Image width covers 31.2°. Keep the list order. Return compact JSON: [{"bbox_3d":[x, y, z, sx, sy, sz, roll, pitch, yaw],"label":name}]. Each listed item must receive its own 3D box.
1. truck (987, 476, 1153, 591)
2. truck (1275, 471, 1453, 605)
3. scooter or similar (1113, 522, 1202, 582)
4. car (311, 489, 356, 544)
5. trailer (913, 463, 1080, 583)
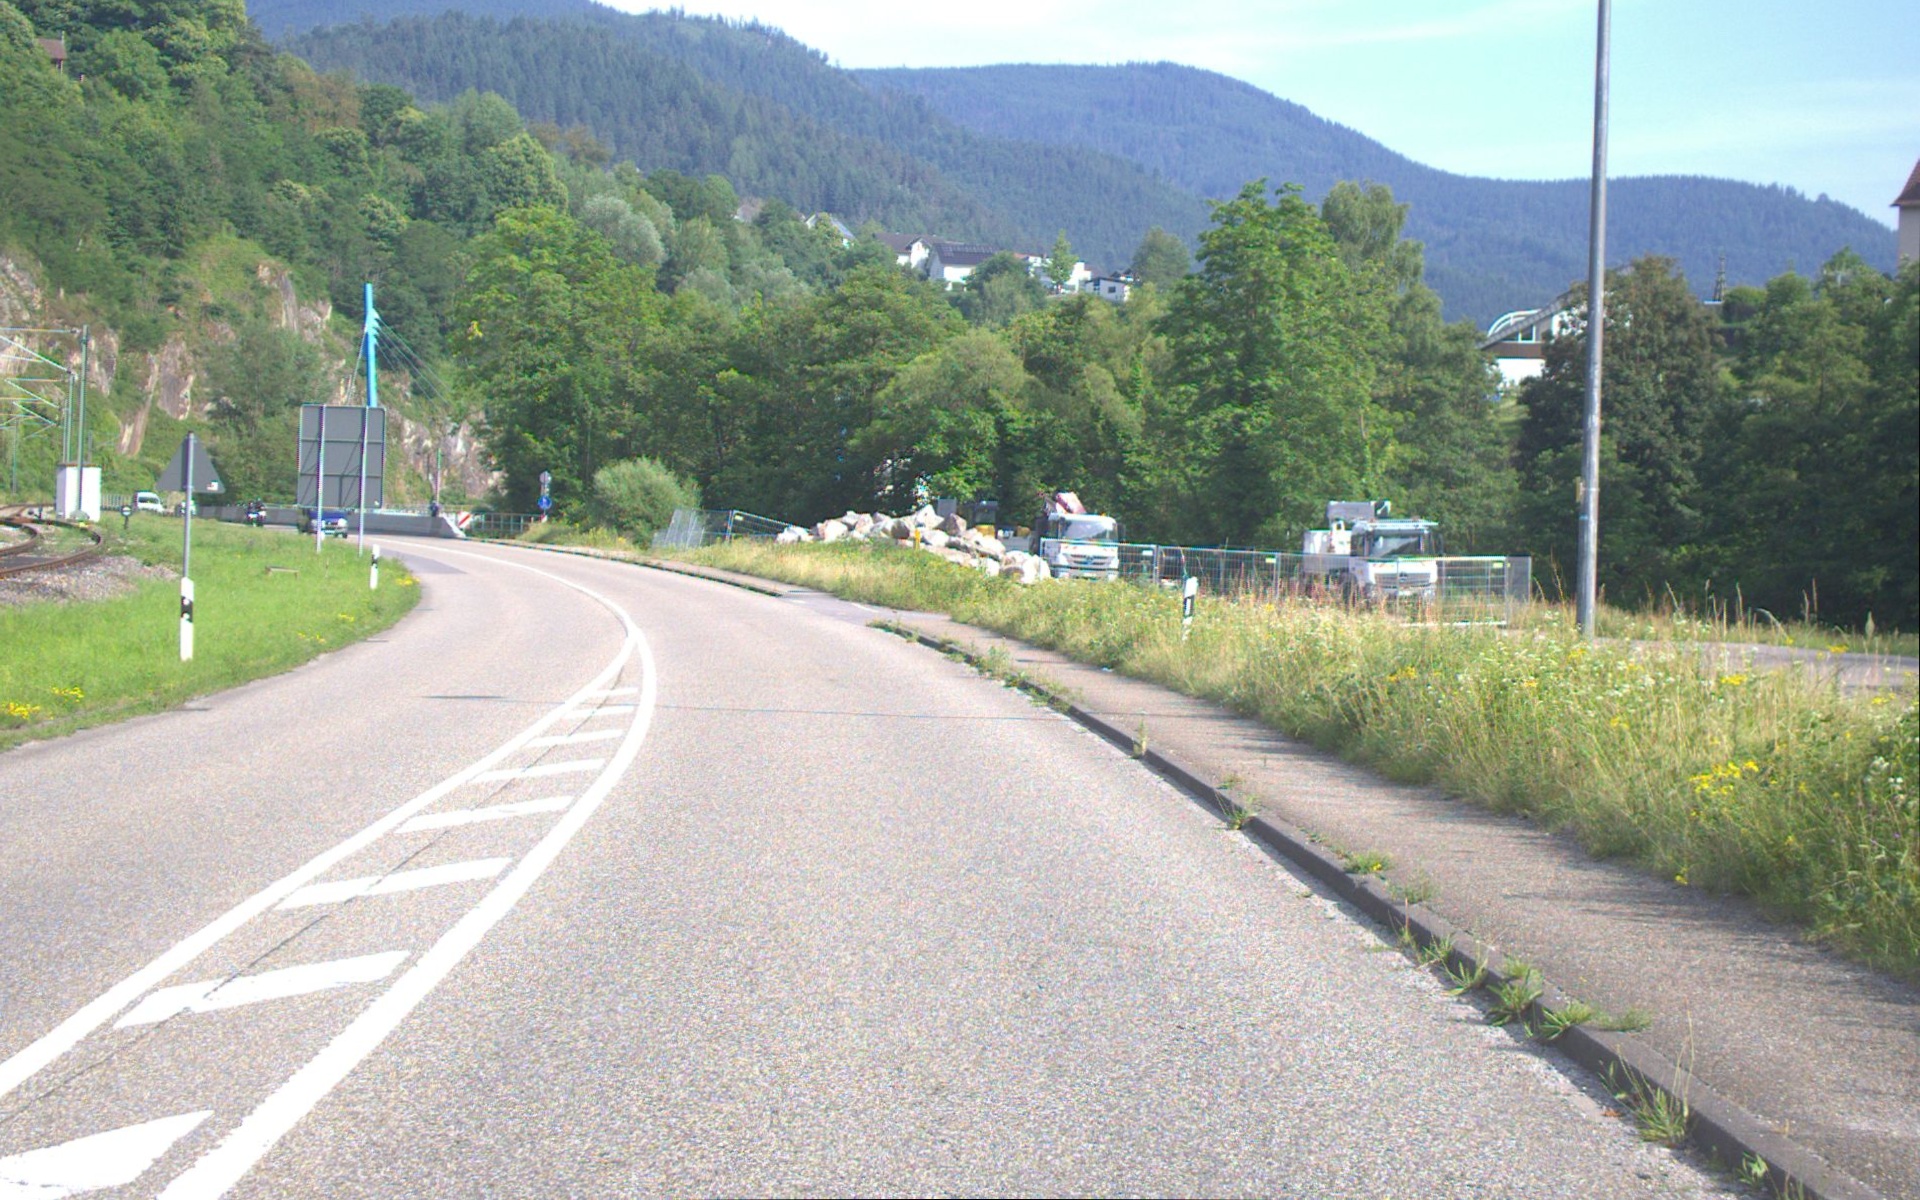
[{"bbox_3d":[3.799,-2.428,121.685,3.102,3.769,8.648,3,1,-17],"label":"truck"},{"bbox_3d":[12.245,-1.934,105.046,3.102,3.769,8.647,3,1,-8],"label":"truck"},{"bbox_3d":[6.941,-1.695,121.218,1.993,2.006,4.002,1,2,-14],"label":"scooter or similar"},{"bbox_3d":[-30.637,-4.121,168.147,2.126,2.606,5.481,0,2,-10],"label":"car"},{"bbox_3d":[1.280,-2.926,130.584,3.364,4.259,9.912,3,1,-17],"label":"trailer"}]
